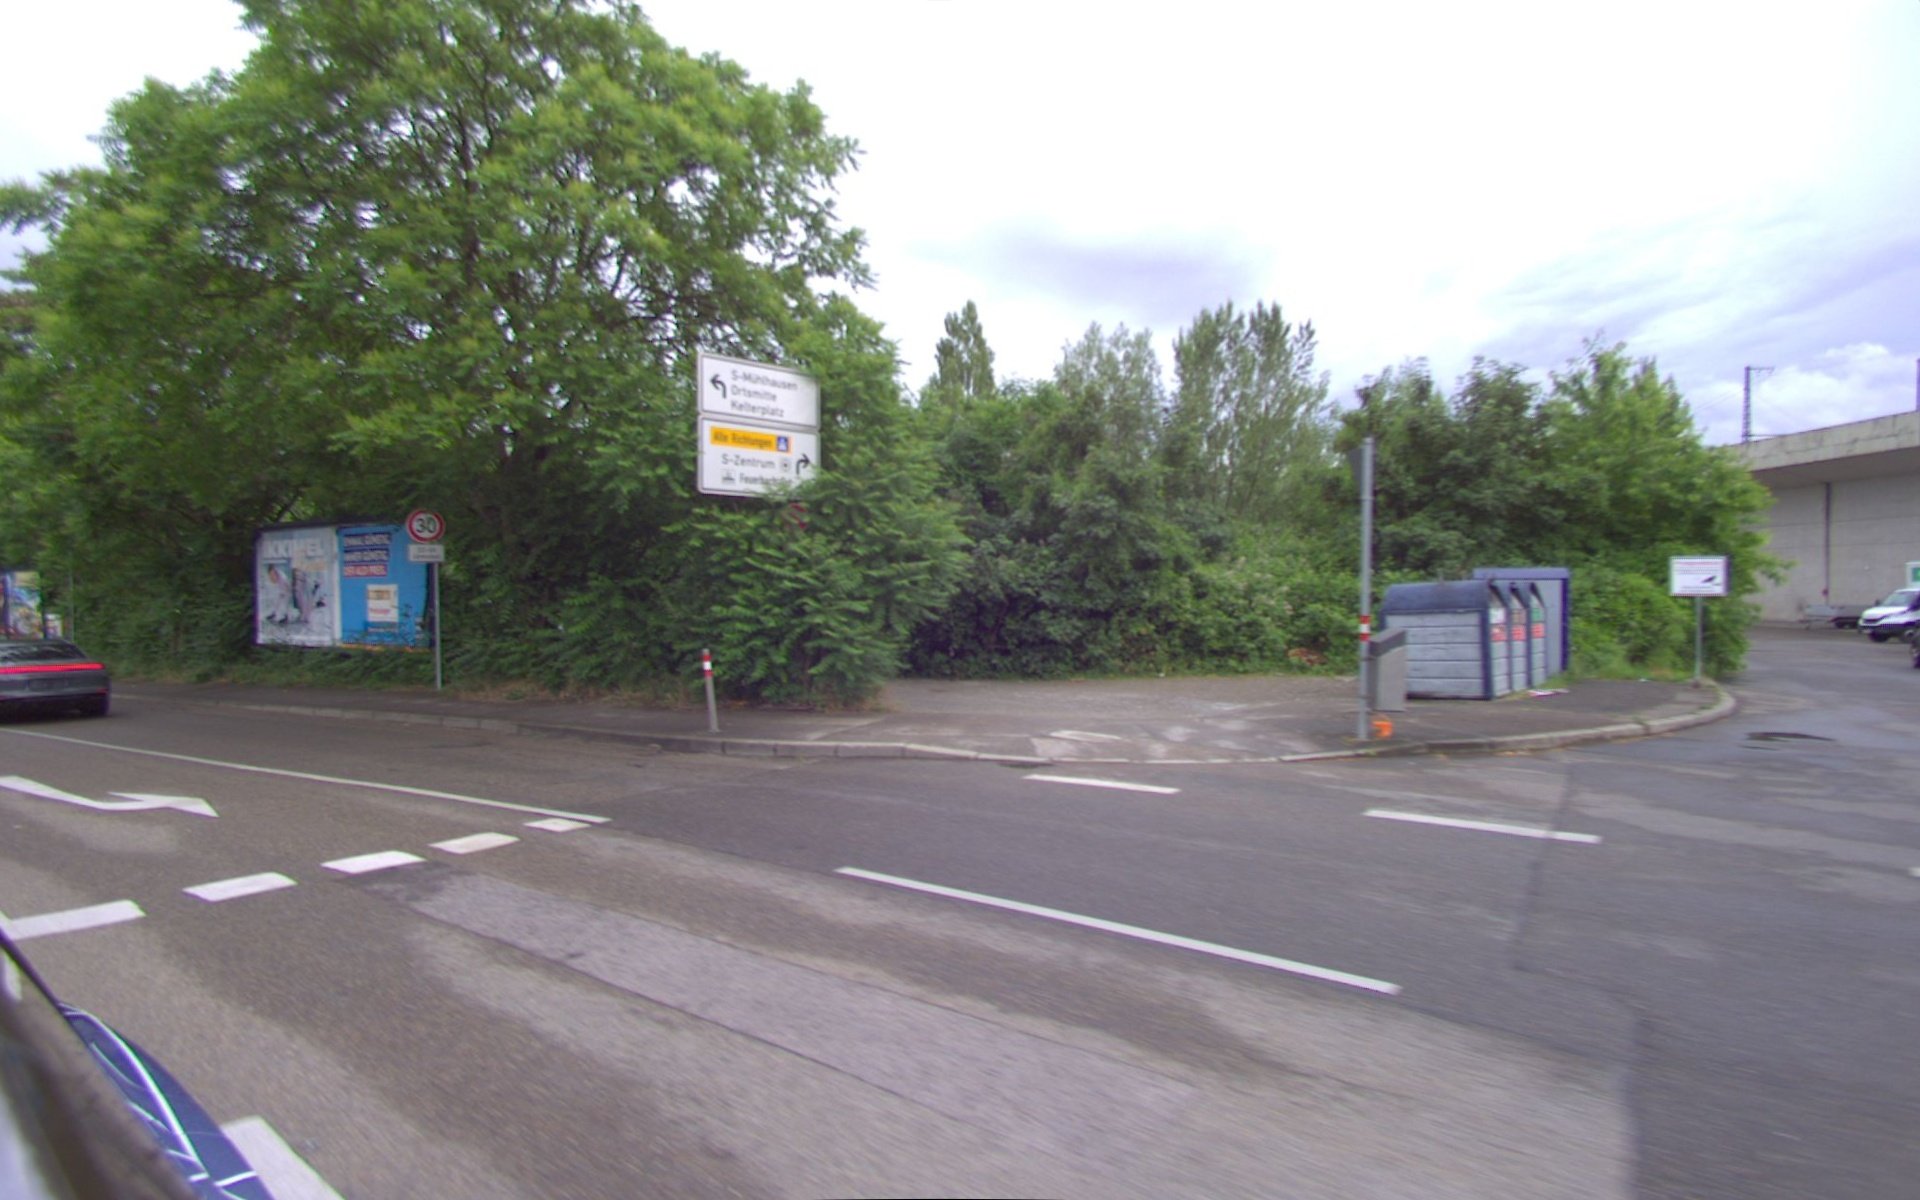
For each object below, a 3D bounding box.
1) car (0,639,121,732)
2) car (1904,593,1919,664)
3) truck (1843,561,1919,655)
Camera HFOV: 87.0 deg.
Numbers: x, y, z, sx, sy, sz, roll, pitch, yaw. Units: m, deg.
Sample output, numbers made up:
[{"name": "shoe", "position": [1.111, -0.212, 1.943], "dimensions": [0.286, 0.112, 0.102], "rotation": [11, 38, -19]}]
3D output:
[{"name": "car", "position": [-17.097, 1.490, 18.081], "dimensions": [4.761, 1.454, 1.977], "rotation": [-3, -2, 34]}, {"name": "car", "position": [22.472, 0.631, 21.946], "dimensions": [1.992, 1.642, 4.209], "rotation": [-2, -1, 30]}, {"name": "truck", "position": [40.982, 0.232, 40.899], "dimensions": [7.540, 3.727, 2.389], "rotation": [-2, -1, 17]}]
